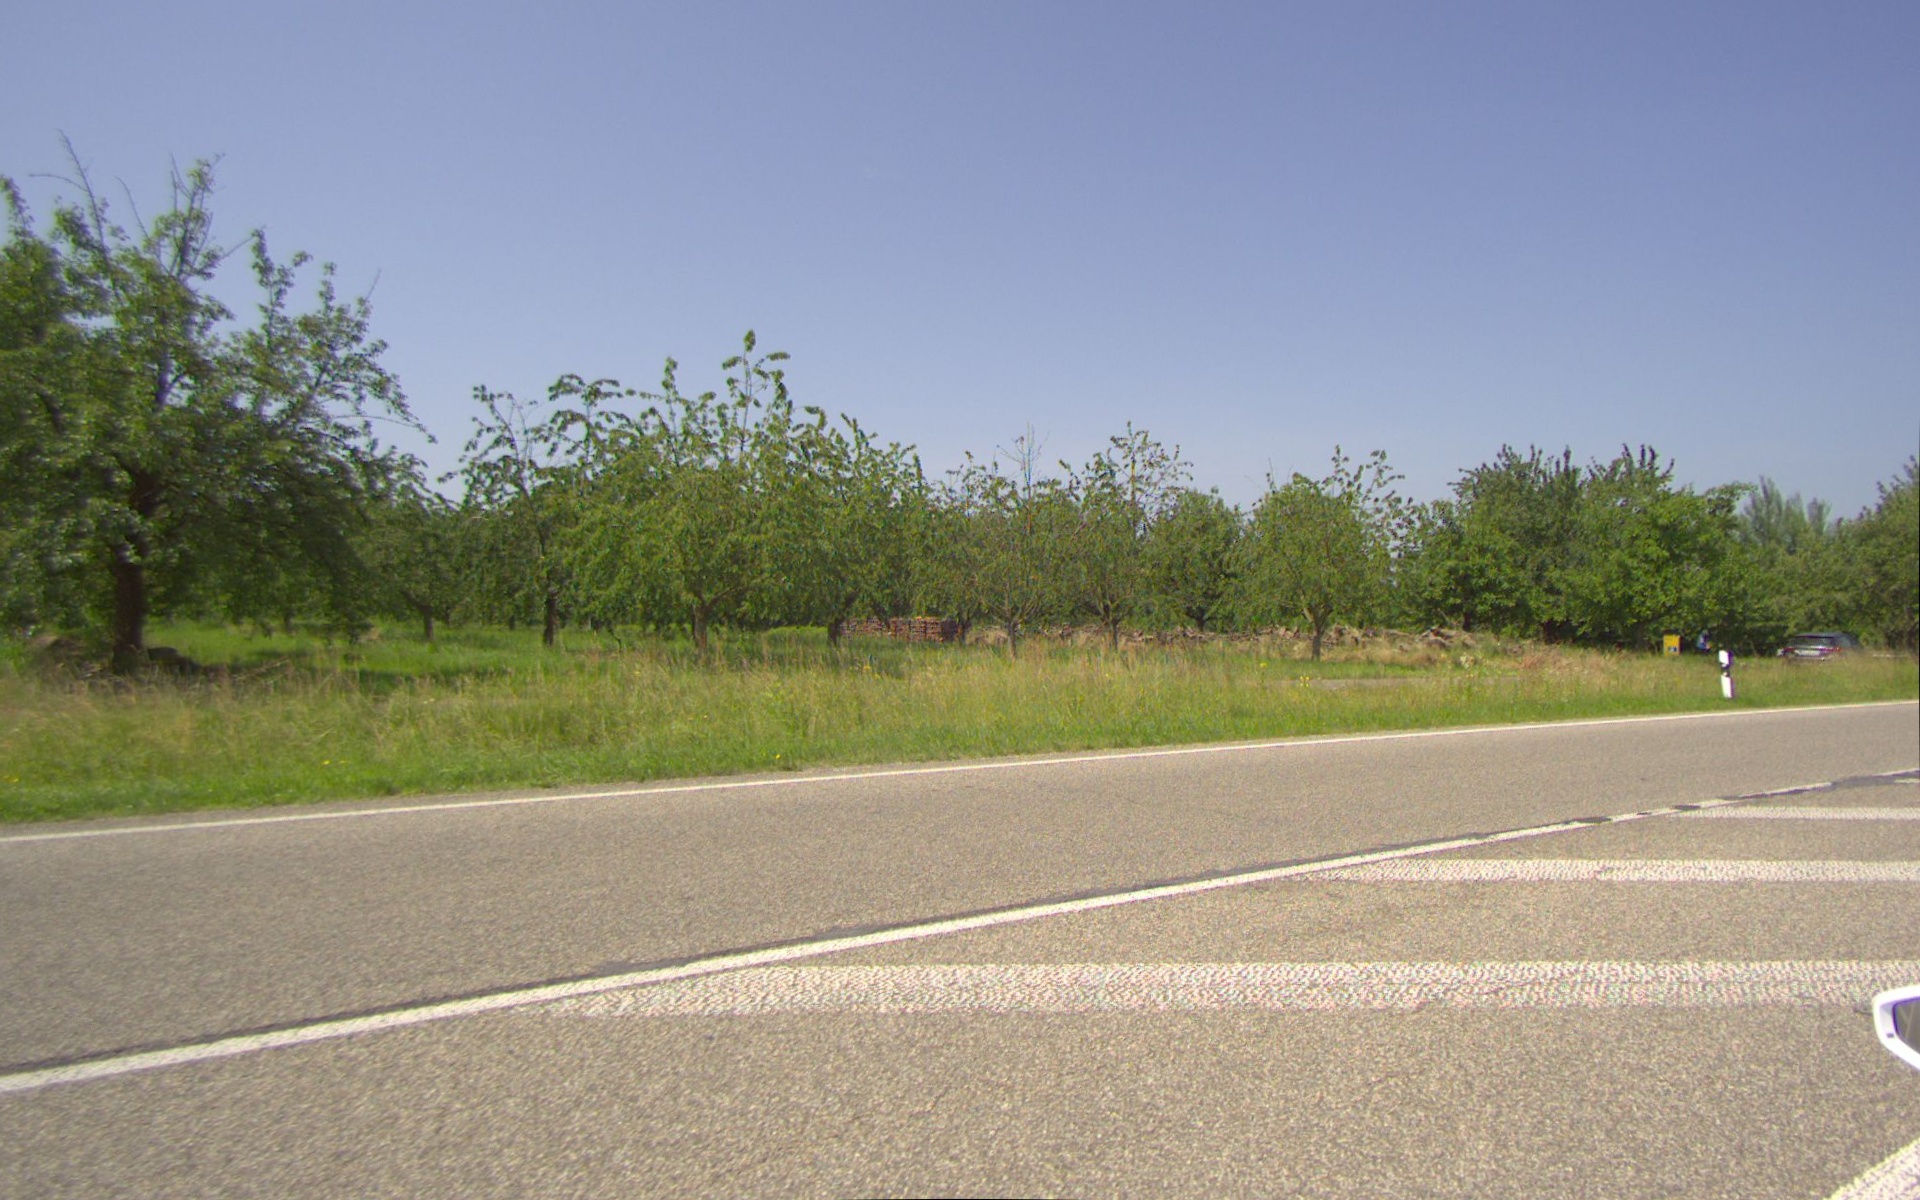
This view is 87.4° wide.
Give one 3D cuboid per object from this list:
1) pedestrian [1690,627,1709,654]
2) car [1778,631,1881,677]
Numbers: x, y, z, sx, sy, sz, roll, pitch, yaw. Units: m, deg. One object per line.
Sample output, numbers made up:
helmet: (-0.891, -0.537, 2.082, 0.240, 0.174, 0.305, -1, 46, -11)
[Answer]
pedestrian: (36.192, 1.974, 49.147, 0.549, 1.314, 0.571, 1, 0, -27)
car: (29.751, 1.821, 34.357, 4.001, 1.441, 1.694, 2, -1, -34)
